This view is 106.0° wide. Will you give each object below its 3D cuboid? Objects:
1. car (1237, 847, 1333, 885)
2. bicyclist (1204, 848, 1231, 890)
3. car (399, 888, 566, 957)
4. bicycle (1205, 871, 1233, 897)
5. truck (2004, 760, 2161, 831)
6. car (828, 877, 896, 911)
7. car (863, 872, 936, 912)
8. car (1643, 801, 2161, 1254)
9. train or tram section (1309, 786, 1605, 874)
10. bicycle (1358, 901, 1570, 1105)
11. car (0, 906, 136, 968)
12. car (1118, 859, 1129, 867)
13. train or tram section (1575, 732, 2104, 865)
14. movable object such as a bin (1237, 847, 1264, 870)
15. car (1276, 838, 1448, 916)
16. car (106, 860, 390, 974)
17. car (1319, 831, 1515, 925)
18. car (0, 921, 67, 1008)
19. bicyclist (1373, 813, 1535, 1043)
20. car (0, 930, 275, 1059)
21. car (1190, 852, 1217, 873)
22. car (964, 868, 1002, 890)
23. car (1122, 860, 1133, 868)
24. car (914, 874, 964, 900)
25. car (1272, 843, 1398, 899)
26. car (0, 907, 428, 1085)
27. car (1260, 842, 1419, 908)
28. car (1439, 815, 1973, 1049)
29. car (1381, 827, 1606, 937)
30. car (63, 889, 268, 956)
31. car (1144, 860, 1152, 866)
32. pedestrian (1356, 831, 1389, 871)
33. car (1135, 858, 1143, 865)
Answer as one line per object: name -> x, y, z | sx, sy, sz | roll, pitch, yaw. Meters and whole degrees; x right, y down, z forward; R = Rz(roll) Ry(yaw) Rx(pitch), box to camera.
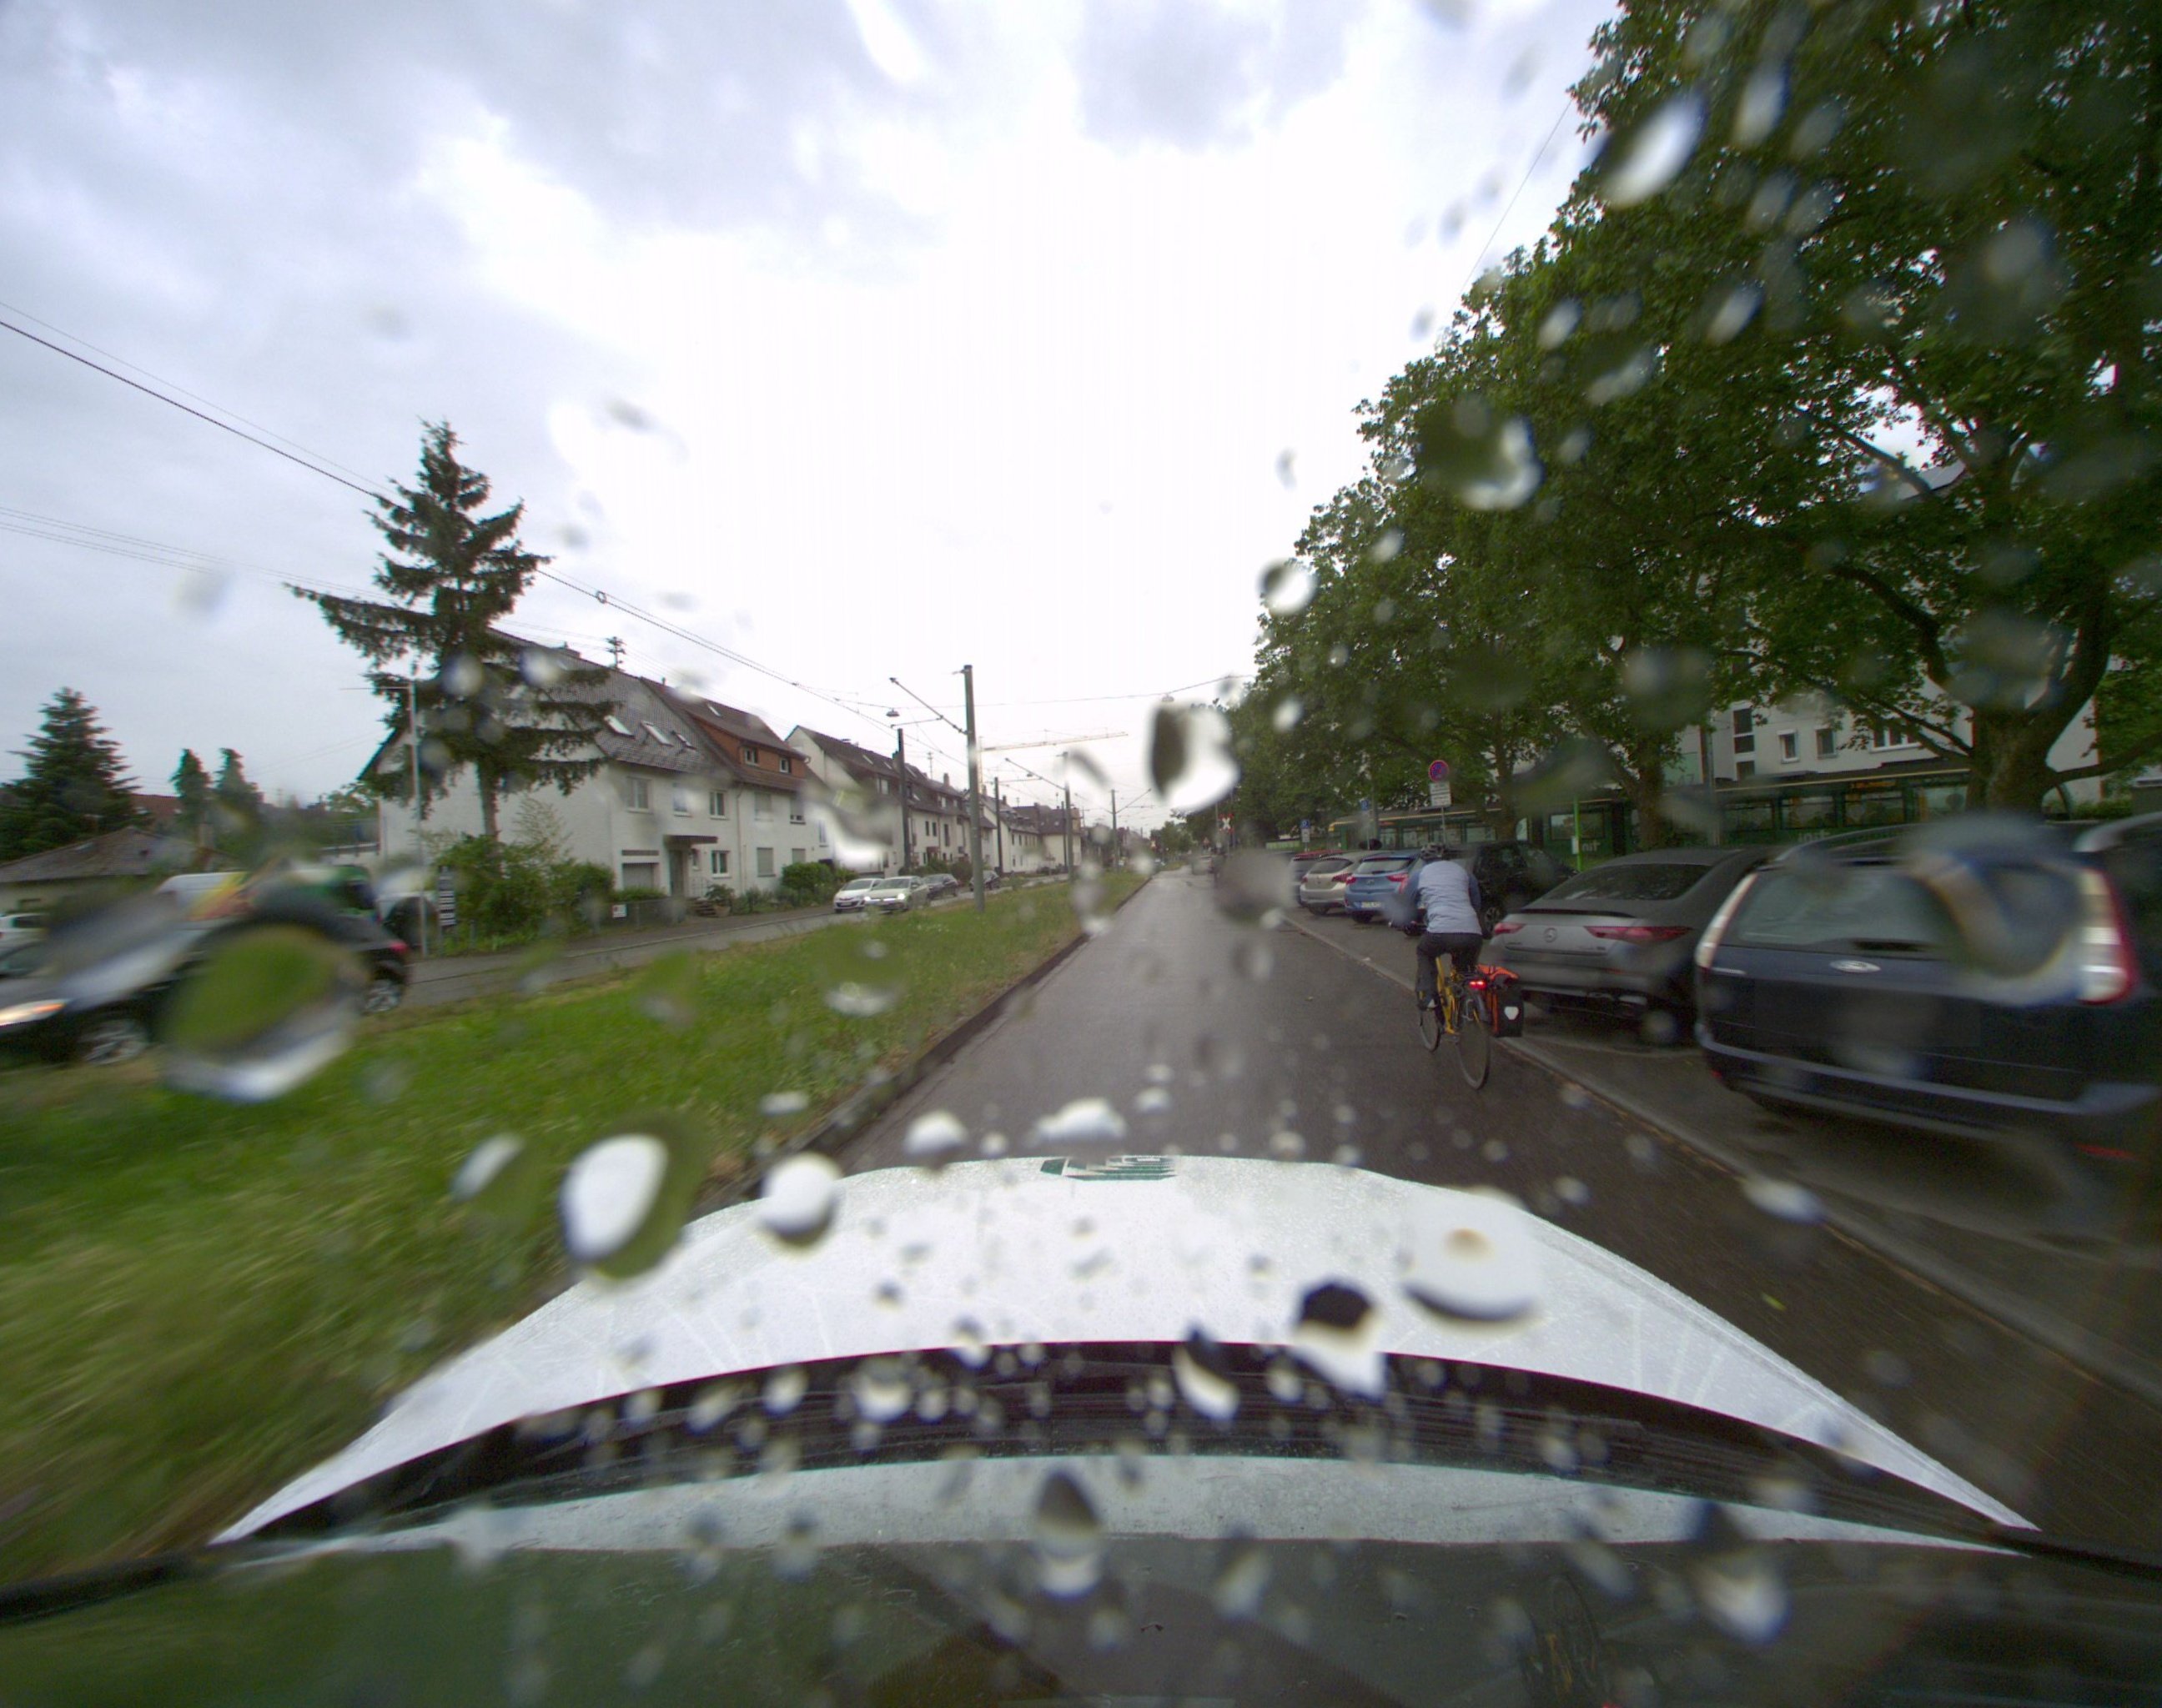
car -> 9.650, 0.549, 38.587 | 4.007, 1.483, 1.983 | -4, 1, -25
bicyclist -> 5.301, 0.597, 31.655 | 0.827, 1.558, 0.915 | -4, -2, 4
car -> -18.535, 2.061, 25.485 | 1.983, 1.564, 3.902 | -3, 3, 6
bicycle -> 5.342, 1.155, 31.632 | 0.817, 0.912, 1.987 | -4, -2, 4
truck -> 61.799, -3.450, 50.102 | 3.166, 3.474, 7.180 | -4, -3, 18
car -> -10.048, 1.831, 37.619 | 1.592, 1.424, 3.951 | -3, -3, 7
car -> -7.281, 1.533, 33.005 | 1.592, 1.424, 3.827 | -3, -3, 7
car -> 5.175, 0.500, 4.197 | 4.183, 1.476, 1.790 | -3, 0, -24
train or tram section -> 19.010, -0.981, 43.159 | 2.727, 3.590, 14.570 | -1, -2, -37
bicycle -> 2.666, 0.974, 5.944 | 0.749, 1.072, 1.930 | -4, 1, 6
car -> -31.984, 2.546, 24.890 | 1.791, 1.580, 4.424 | -4, -1, -15
car -> 9.620, 2.135, 185.422 | 1.982, 1.544, 4.008 | -3, -3, 8
train or tram section -> 27.711, -1.634, 31.498 | 2.727, 3.590, 14.570 | -1, -2, -37
movable object such as a bin -> 13.771, 0.360, 66.262 | 1.553, 1.704, 1.491 | -4, -1, -17
car -> 7.009, 0.545, 20.209 | 4.017, 1.553, 1.939 | -4, -2, -35
car -> -20.501, 1.535, 20.182 | 5.106, 2.406, 2.155 | -3, -3, 5
car -> 7.204, 0.489, 17.356 | 4.017, 1.500, 1.805 | -6, -1, -34
car -> -19.789, 1.956, 13.710 | 3.806, 1.396, 1.727 | -4, -3, 9
bicyclist -> 2.625, 0.490, 5.826 | 0.747, 1.485, 0.848 | -4, 0, 5
car -> -13.393, 1.799, 10.274 | 1.707, 1.339, 4.398 | -4, -3, 8
car -> 10.378, 0.737, 69.040 | 1.945, 1.553, 4.006 | -5, -2, 5
car -> -7.321, 1.904, 61.485 | 1.867, 1.503, 4.140 | -3, -3, 6
car -> 10.972, 2.414, 191.520 | 1.982, 1.705, 4.008 | -3, -3, 8
car -> -8.486, 1.974, 49.122 | 1.592, 1.424, 4.675 | -3, -3, 7
car -> 8.289, 0.539, 26.634 | 3.600, 1.480, 1.626 | -5, 0, -20
car -> -10.235, 1.456, 9.448 | 1.727, 1.486, 4.008 | -3, -3, 8
car -> 7.444, 0.584, 23.410 | 4.131, 1.480, 1.850 | -5, 0, -26
car -> 5.692, 0.521, 7.393 | 4.554, 1.476, 1.790 | -3, 0, -23
car -> 7.209, 0.453, 14.220 | 3.528, 1.506, 1.737 | -5, -1, -30
car -> -26.842, 1.927, 24.140 | 1.863, 1.580, 4.376 | -4, -1, -15
car -> 19.911, 2.676, 242.161 | 1.982, 1.544, 4.008 | -3, -3, 8
pedestrian -> 12.988, -0.137, 36.315 | 1.039, 1.714, 1.082 | -4, -1, 6
car -> 15.450, 2.066, 216.597 | 1.982, 1.544, 4.008 | -3, -3, 8
